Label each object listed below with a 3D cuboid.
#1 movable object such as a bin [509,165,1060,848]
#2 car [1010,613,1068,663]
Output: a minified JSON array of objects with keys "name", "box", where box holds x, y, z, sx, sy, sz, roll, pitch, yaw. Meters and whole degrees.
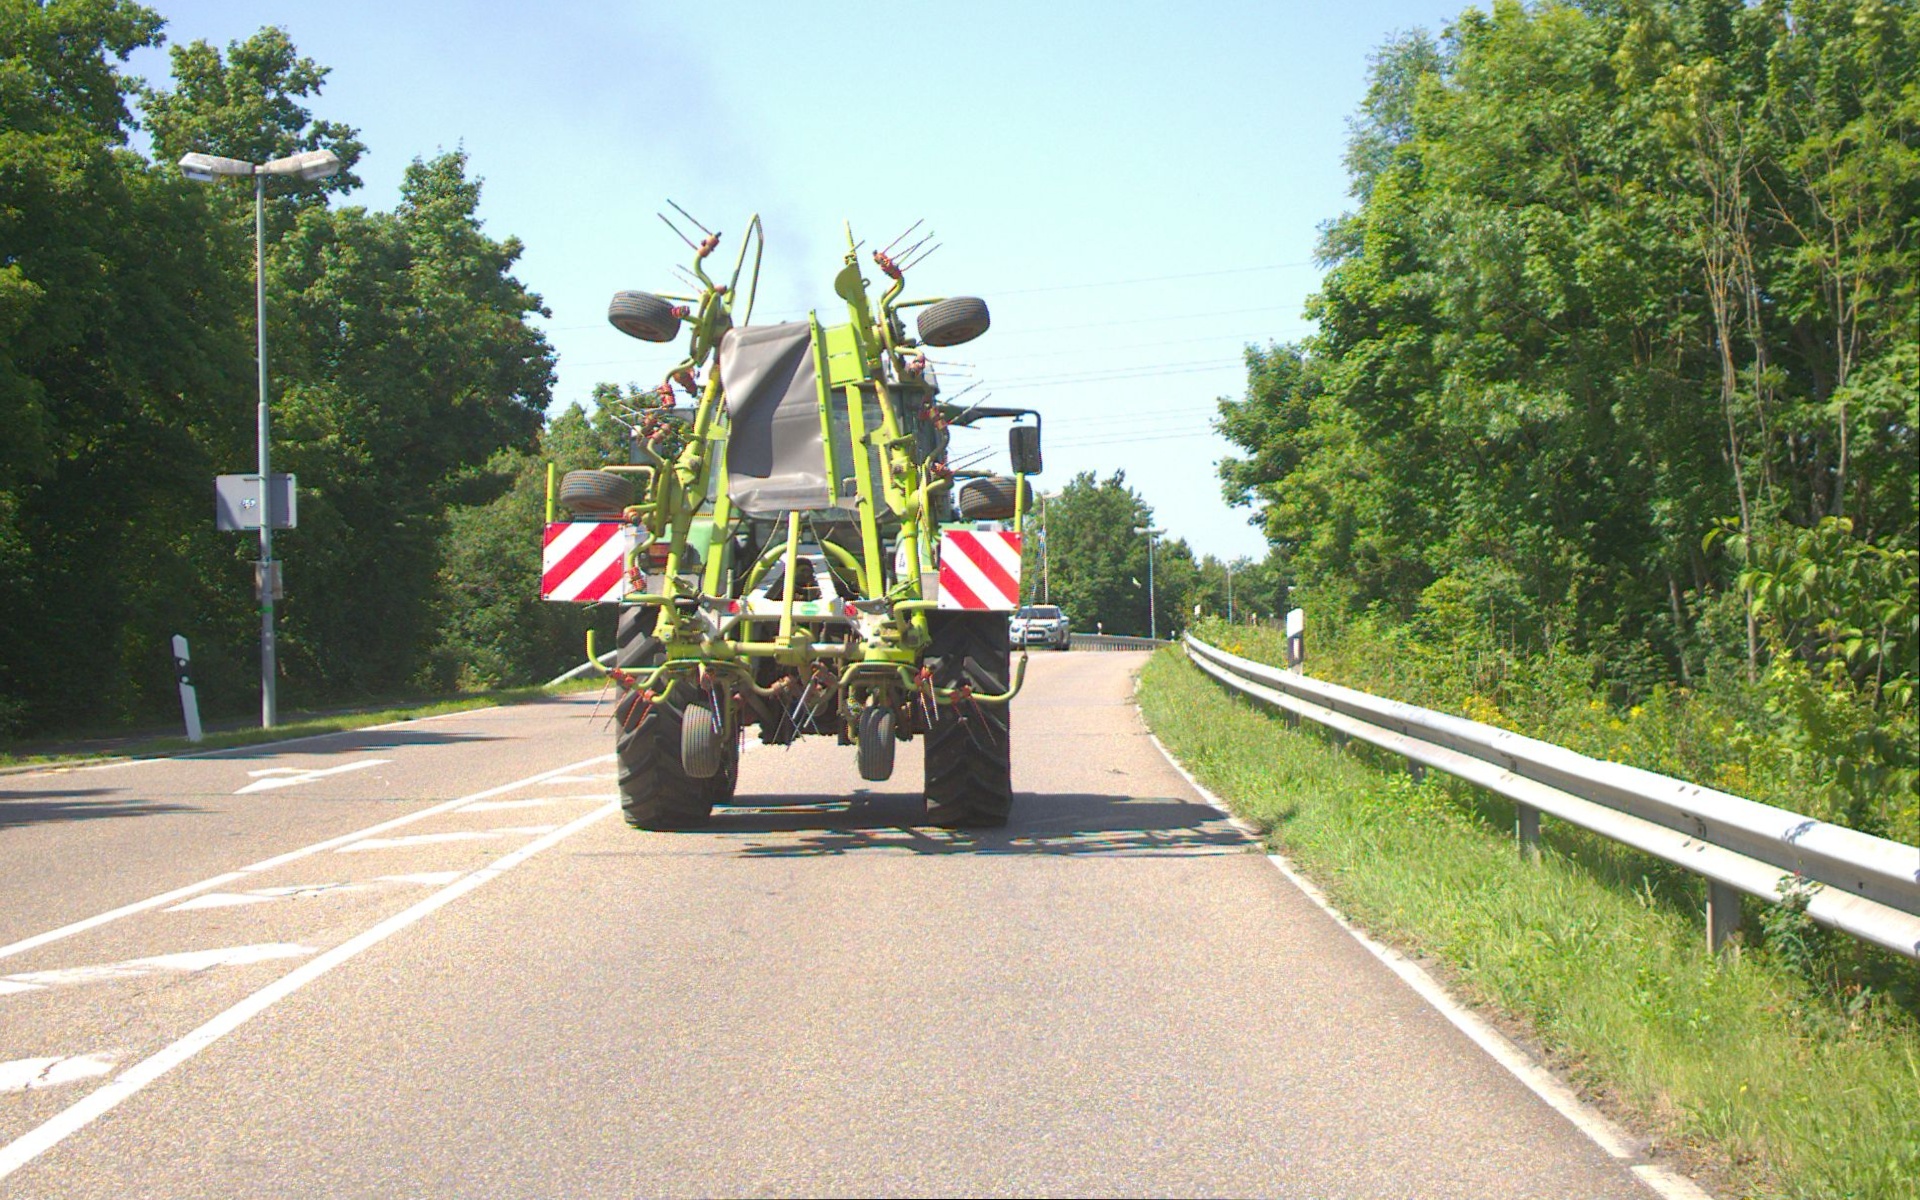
[{"name":"movable object such as a bin","box":[-0.812,-0.442,20.254,2.755,3.432,5.669,-1,-1,2]},{"name":"car","box":[2.592,1.248,112.237,1.739,1.451,3.888,5,-1,2]}]
